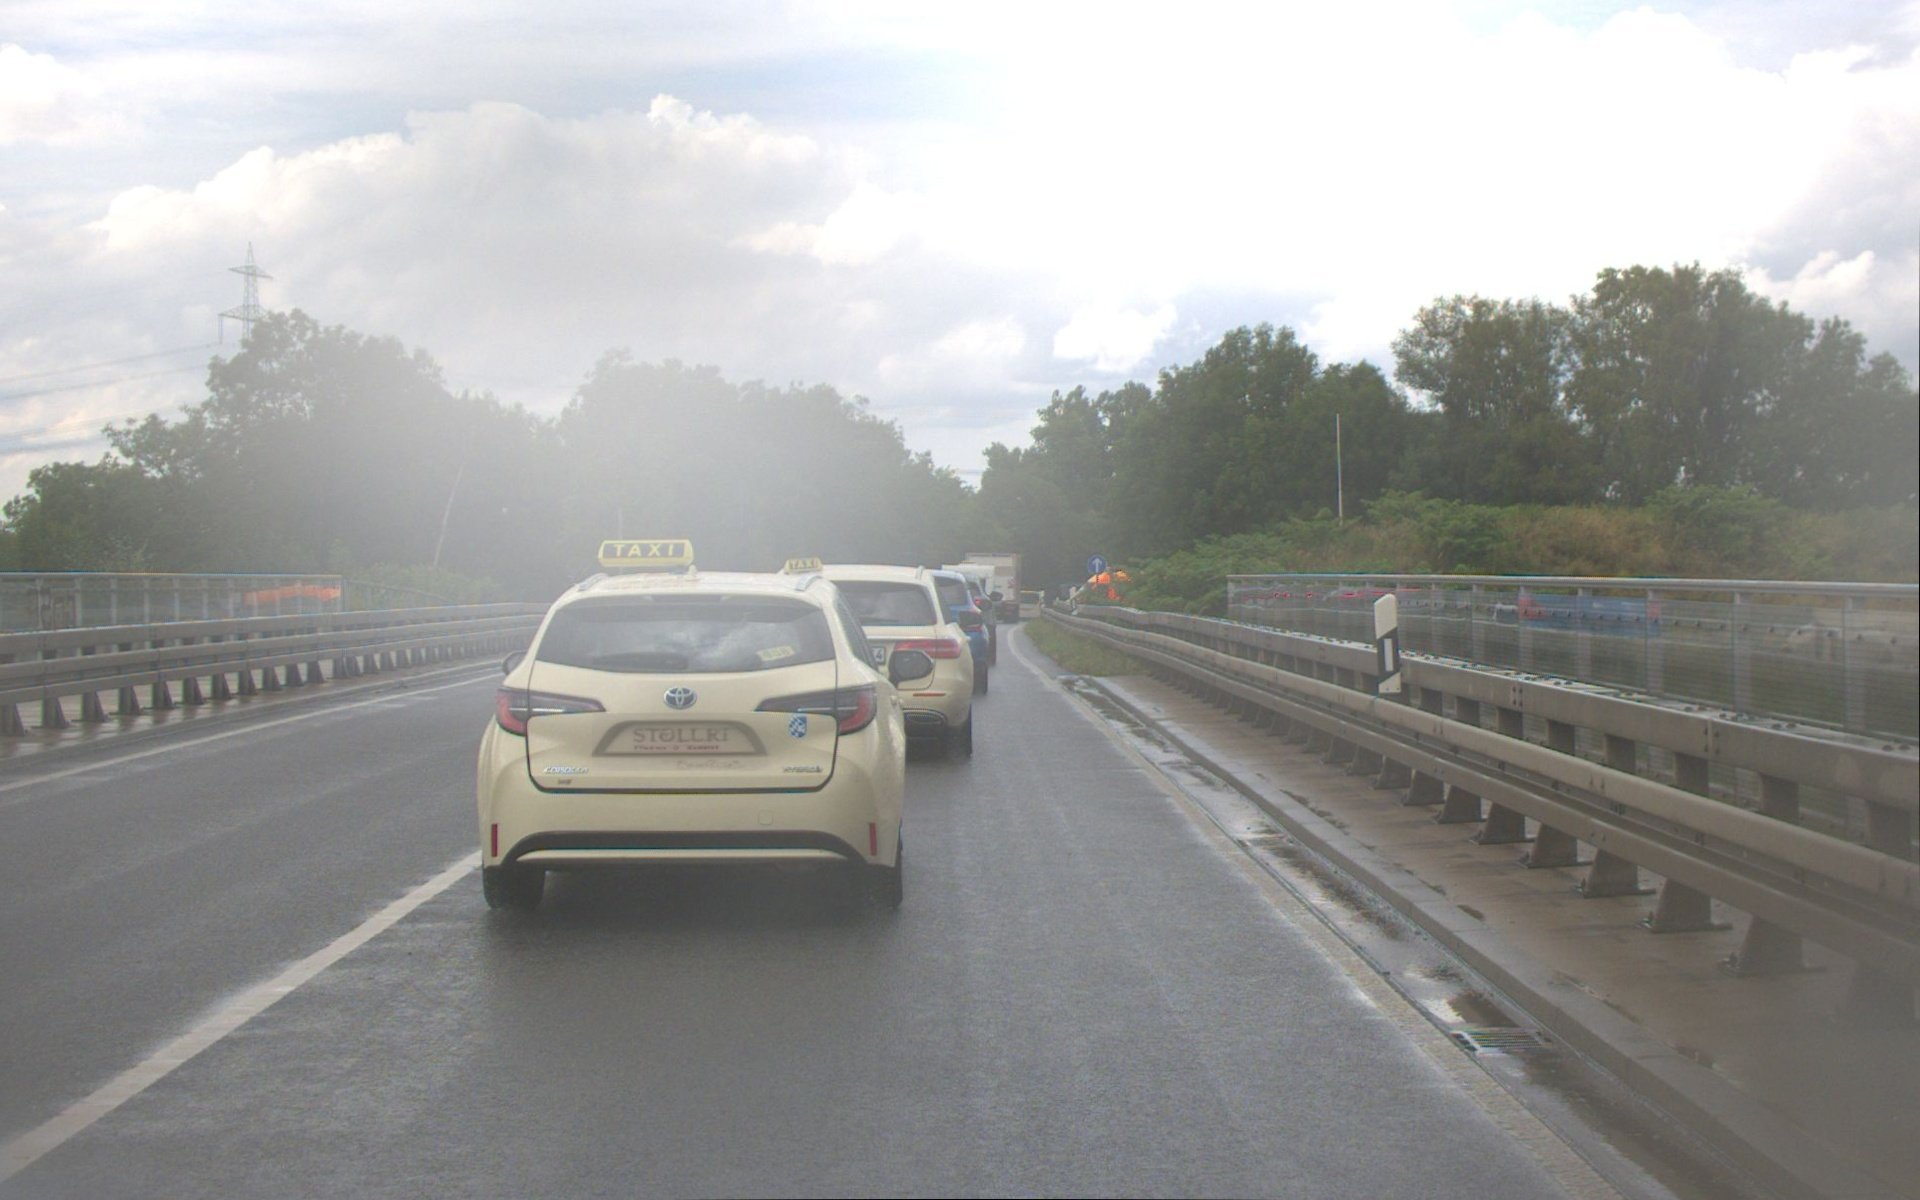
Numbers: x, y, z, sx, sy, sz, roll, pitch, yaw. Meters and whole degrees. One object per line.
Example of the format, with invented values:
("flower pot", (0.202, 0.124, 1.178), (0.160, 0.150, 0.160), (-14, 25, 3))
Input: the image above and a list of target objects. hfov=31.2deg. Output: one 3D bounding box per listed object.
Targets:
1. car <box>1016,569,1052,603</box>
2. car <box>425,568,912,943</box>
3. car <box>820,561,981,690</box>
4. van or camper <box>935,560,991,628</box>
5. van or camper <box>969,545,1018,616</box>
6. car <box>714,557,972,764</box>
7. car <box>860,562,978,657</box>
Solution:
("car", (4.440, -0.874, 207.875), (1.993, 2.007, 4.000), (1, 1, -1))
("car", (-1.173, 0.591, 15.561), (1.854, 1.389, 4.171), (1, 1, 0))
("car", (-0.710, 0.272, 42.287), (1.854, 1.438, 4.171), (1, 1, 0))
("van or camper", (0.105, -0.296, 148.518), (2.332, 2.854, 6.307), (1, 1, 0))
("van or camper", (1.691, -1.029, 175.894), (2.332, 3.550, 6.307), (1, 1, 0))
("car", (-0.861, 0.416, 27.092), (1.854, 1.438, 4.171), (1, 1, 0))
("car", (-0.664, 0.132, 56.789), (1.854, 1.438, 4.171), (1, 1, 0))
